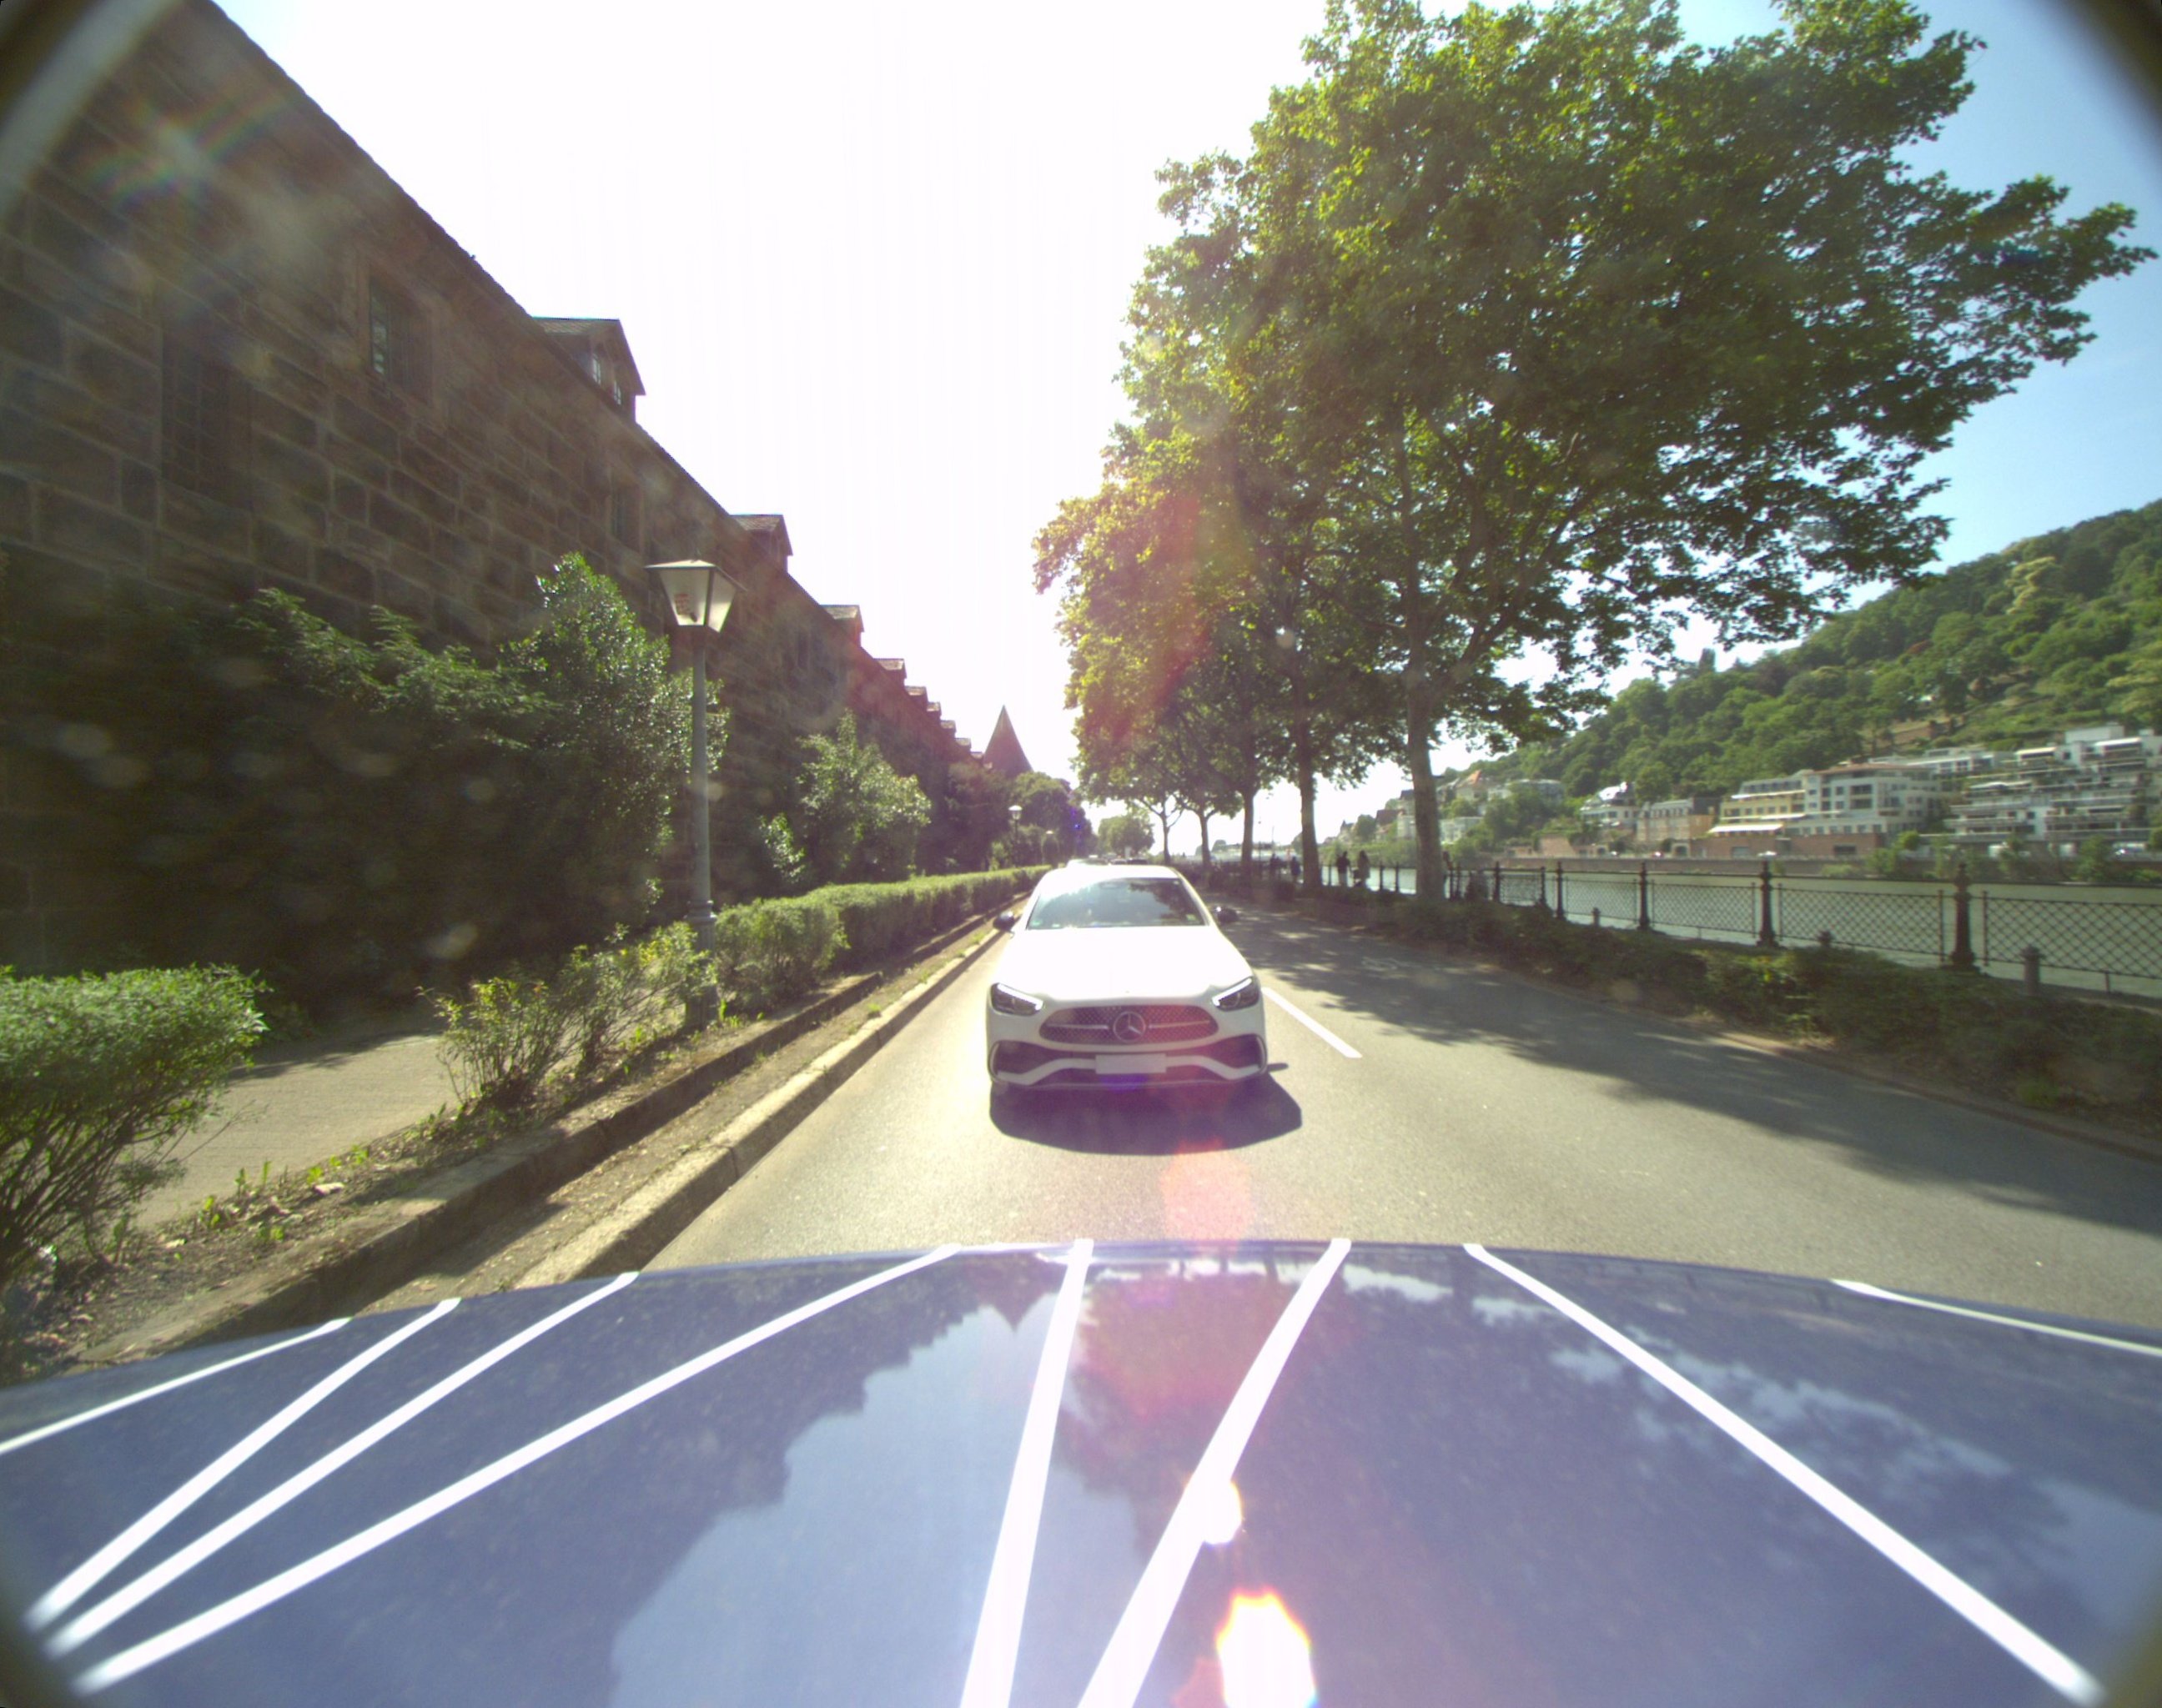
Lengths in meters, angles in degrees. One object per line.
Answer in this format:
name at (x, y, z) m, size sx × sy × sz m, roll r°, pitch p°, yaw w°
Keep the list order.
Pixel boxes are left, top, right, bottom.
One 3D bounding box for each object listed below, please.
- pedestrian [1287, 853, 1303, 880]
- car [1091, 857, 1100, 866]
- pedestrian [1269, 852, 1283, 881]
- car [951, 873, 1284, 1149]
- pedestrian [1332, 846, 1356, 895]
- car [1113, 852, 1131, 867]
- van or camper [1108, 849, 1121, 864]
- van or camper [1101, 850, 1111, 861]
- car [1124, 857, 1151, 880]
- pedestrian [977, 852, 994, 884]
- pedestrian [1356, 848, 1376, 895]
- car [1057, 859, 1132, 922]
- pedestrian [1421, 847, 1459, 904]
pedestrian at (12.513, 0.724, 44.437) m, size 0.705 × 1.594 × 0.705 m, roll 0°, pitch 1°, yaw 3°
car at (3.223, 1.628, 169.337) m, size 1.923 × 1.975 × 3.999 m, roll 0°, pitch 0°, yaw -2°
pedestrian at (11.765, 0.734, 45.929) m, size 0.705 × 1.721 × 0.705 m, roll 0°, pitch 1°, yaw 3°
car at (0.233, 0.933, 6.435) m, size 1.829 × 1.418 × 4.359 m, roll -1°, pitch 0°, yaw 1°
pedestrian at (10.149, 0.615, 29.334) m, size 0.642 × 1.859 × 0.806 m, roll 1°, pitch 0°, yaw 1°
car at (4.749, 0.641, 88.495) m, size 1.882 × 1.688 × 4.258 m, roll 1°, pitch 0°, yaw 0°
van or camper at (5.830, 0.499, 132.023) m, size 1.965 × 2.552 × 5.841 m, roll 1°, pitch 0°, yaw 1°
van or camper at (6.243, 0.473, 189.360) m, size 2.328 × 2.646 × 6.264 m, roll 1°, pitch 0°, yaw 1°
car at (4.110, 1.041, 55.917) m, size 1.768 × 1.638 × 4.090 m, roll 1°, pitch 0°, yaw 1°
pedestrian at (-4.902, 0.725, 39.045) m, size 0.700 × 1.643 × 0.705 m, roll 1°, pitch 0°, yaw 3°
pedestrian at (10.888, 0.656, 29.039) m, size 0.518 × 1.758 × 0.592 m, roll 1°, pitch 0°, yaw 1°
car at (0.381, 0.927, 20.958) m, size 1.854 × 1.543 × 3.849 m, roll 1°, pitch 0°, yaw 1°
pedestrian at (11.185, 0.648, 23.675) m, size 0.695 × 1.707 × 0.874 m, roll -2°, pitch 1°, yaw -1°
